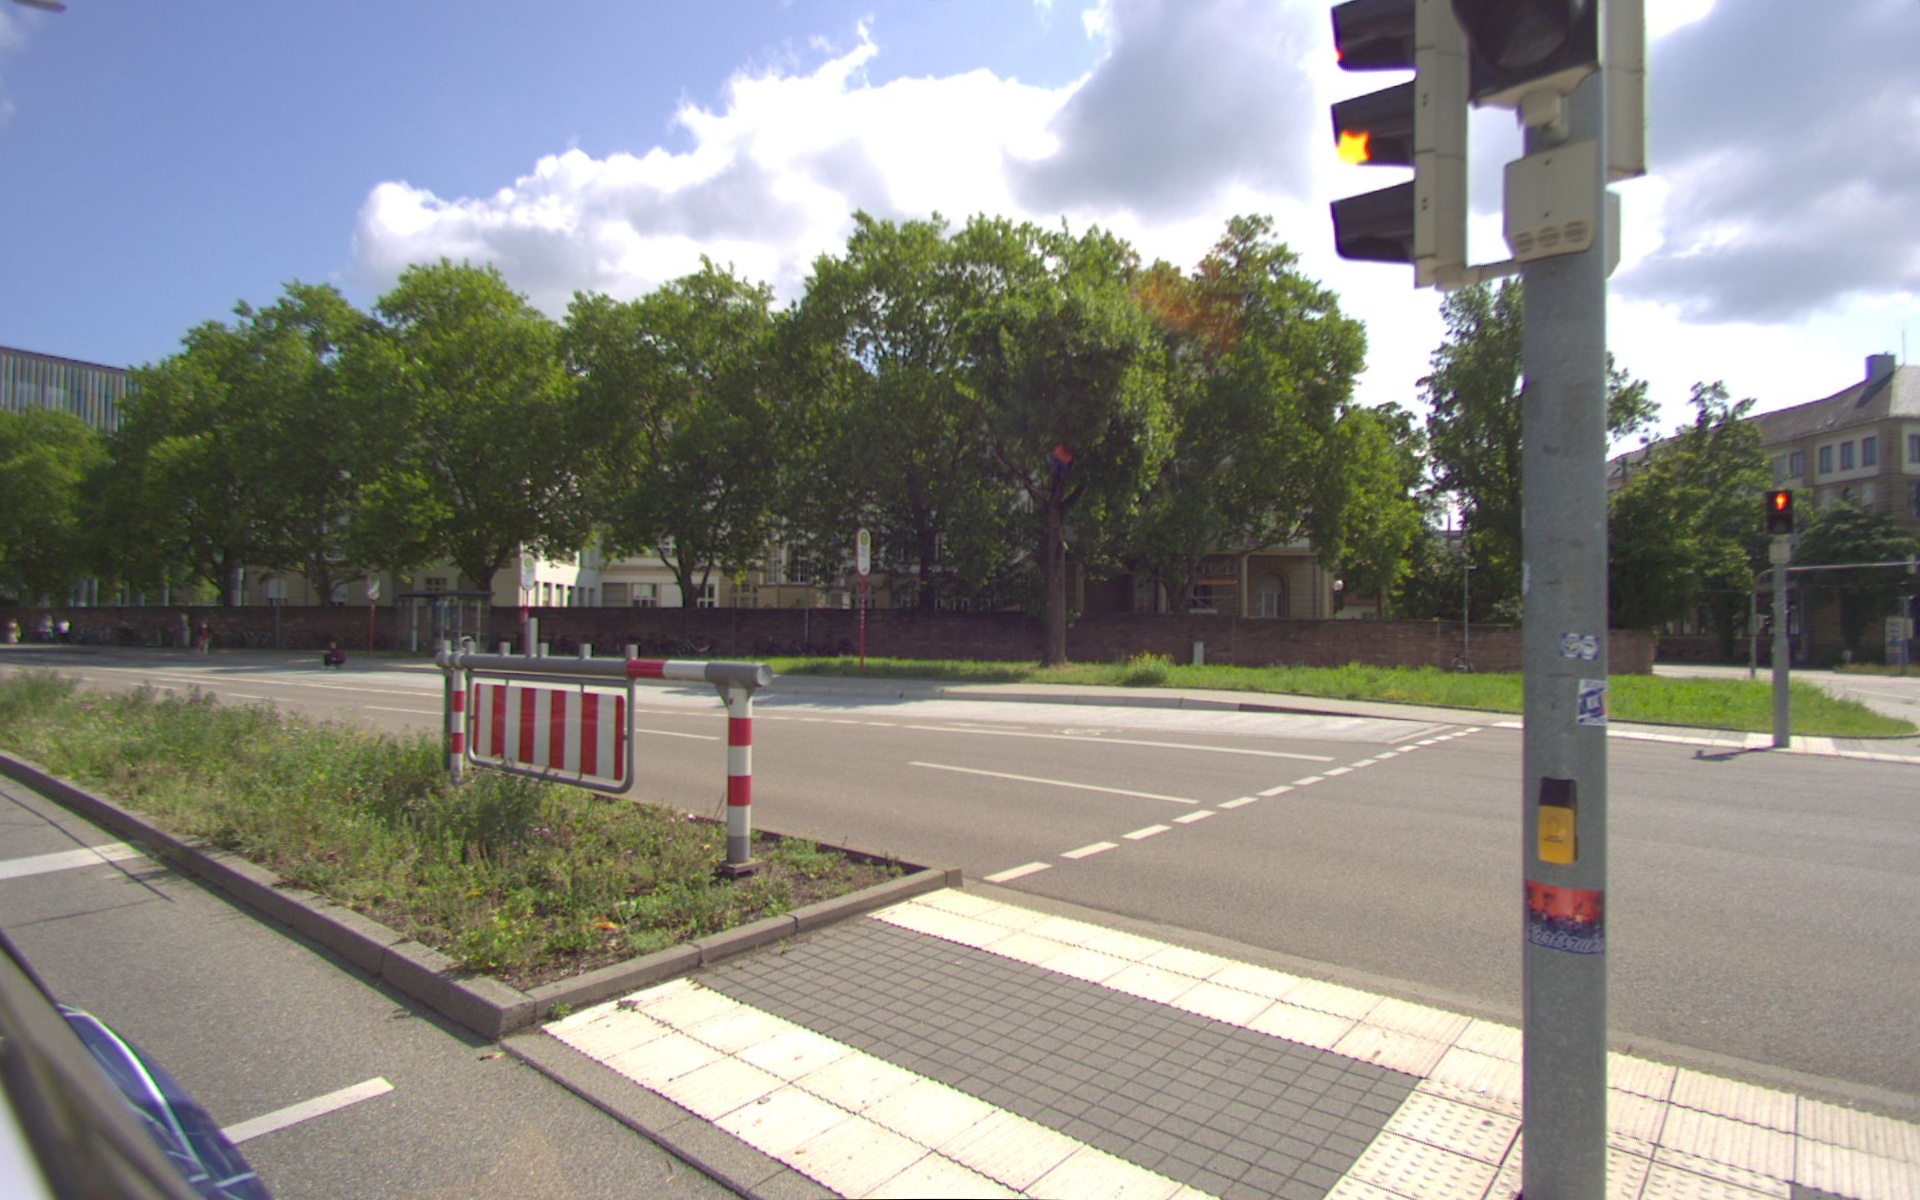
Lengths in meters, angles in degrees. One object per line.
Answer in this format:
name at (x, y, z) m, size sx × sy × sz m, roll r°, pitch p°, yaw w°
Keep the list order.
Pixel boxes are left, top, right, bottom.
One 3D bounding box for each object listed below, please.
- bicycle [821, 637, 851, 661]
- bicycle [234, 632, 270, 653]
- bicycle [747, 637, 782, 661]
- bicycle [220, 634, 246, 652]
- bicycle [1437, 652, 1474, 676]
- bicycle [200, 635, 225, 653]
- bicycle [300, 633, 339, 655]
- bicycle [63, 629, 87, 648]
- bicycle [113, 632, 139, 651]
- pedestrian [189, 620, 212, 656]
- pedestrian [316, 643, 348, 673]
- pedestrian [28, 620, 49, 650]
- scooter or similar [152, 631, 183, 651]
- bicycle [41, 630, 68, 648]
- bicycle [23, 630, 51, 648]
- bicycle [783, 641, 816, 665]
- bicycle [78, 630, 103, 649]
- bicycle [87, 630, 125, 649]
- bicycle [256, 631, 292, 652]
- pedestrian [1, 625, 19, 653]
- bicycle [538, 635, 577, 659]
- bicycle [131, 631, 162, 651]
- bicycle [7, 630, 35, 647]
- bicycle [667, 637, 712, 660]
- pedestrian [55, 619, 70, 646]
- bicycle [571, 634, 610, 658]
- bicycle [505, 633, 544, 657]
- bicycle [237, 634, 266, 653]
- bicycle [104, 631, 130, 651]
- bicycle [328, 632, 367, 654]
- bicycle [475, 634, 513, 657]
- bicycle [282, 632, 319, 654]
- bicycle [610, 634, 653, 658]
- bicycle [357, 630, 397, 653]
bicycle at (-5.409, 2.135, 44.032) m, size 1.243 × 1.019 × 0.352 m, roll 0°, pitch -2°, yaw 15°
bicycle at (-36.196, 2.174, 51.722) m, size 1.742 × 1.081 × 0.580 m, roll 0°, pitch -2°, yaw 20°
bicycle at (-8.612, 2.152, 44.584) m, size 1.442 × 1.019 × 0.470 m, roll 0°, pitch -2°, yaw 15°
bicycle at (-38.228, 2.248, 53.200) m, size 1.391 × 0.962 × 0.365 m, roll 0°, pitch -2°, yaw 20°
bicycle at (21.186, 2.748, 43.283) m, size 1.497 × 0.999 × 0.395 m, roll 1°, pitch -2°, yaw -12°
bicycle at (-39.684, 2.346, 53.714) m, size 1.391 × 0.962 × 0.365 m, roll 0°, pitch -2°, yaw 20°
bicycle at (-31.926, 2.176, 50.453) m, size 1.738 × 1.081 × 0.581 m, roll 0°, pitch -2°, yaw 14°
bicycle at (-52.314, 2.275, 59.805) m, size 1.871 × 1.056 × 0.368 m, roll -1°, pitch -2°, yaw 26°
bicycle at (-47.030, 2.321, 57.057) m, size 1.871 × 1.056 × 0.391 m, roll -1°, pitch -2°, yaw 26°
pedestrian at (-34.860, 1.735, 46.445) m, size 0.743 × 1.622 × 0.650 m, roll -1°, pitch -2°, yaw 36°
pedestrian at (-21.575, 1.984, 34.760) m, size 0.741 × 0.970 × 0.688 m, roll -1°, pitch -2°, yaw 34°
pedestrian at (-53.017, 2.014, 58.218) m, size 0.728 × 1.664 × 0.636 m, roll -1°, pitch -3°, yaw 30°
scooter or similar at (-43.455, 2.241, 55.477) m, size 1.871 × 1.056 × 0.577 m, roll -1°, pitch -2°, yaw 26°
bicycle at (-54.572, 2.344, 60.984) m, size 1.871 × 1.056 × 0.561 m, roll -1°, pitch -2°, yaw 26°
bicycle at (-56.472, 2.369, 61.918) m, size 1.871 × 1.056 × 0.626 m, roll -1°, pitch -2°, yaw 26°
bicycle at (-7.021, 2.310, 44.257) m, size 1.357 × 1.019 × 0.390 m, roll 0°, pitch -2°, yaw 15°
bicycle at (-50.555, 2.297, 58.833) m, size 1.871 × 1.056 × 0.368 m, roll -1°, pitch -2°, yaw 26°
bicycle at (-48.773, 2.272, 57.812) m, size 1.860 × 1.056 × 0.592 m, roll 0°, pitch -2°, yaw 11°
bicycle at (-34.944, 2.105, 51.565) m, size 1.742 × 1.081 × 0.580 m, roll 0°, pitch -2°, yaw 20°
pedestrian at (-56.738, 2.335, 60.442) m, size 0.724 × 1.664 × 0.556 m, roll -1°, pitch -3°, yaw 30°
bicycle at (-18.493, 2.164, 46.467) m, size 1.615 × 1.081 × 0.581 m, roll 0°, pitch -2°, yaw 14°
bicycle at (-45.244, 2.271, 56.274) m, size 1.871 × 1.056 × 0.577 m, roll -1°, pitch -2°, yaw 26°
bicycle at (-58.345, 2.385, 62.898) m, size 1.871 × 1.056 × 0.626 m, roll -1°, pitch -2°, yaw 26°
bicycle at (-12.083, 2.153, 45.173) m, size 1.945 × 1.019 × 0.470 m, roll 0°, pitch -2°, yaw 15°
pedestrian at (-52.741, 1.913, 59.476) m, size 0.614 × 1.551 × 0.473 m, roll -1°, pitch -3°, yaw 30°
bicycle at (-16.827, 2.095, 46.079) m, size 1.615 × 1.081 × 0.581 m, roll 0°, pitch -2°, yaw 14°
bicycle at (-20.193, 2.098, 46.910) m, size 1.615 × 1.081 × 0.581 m, roll 0°, pitch -2°, yaw 14°
bicycle at (-36.750, 2.231, 52.489) m, size 1.614 × 0.962 × 0.369 m, roll 0°, pitch -2°, yaw 20°
bicycle at (-47.203, 2.291, 56.656) m, size 1.871 × 1.056 × 0.370 m, roll -1°, pitch -2°, yaw 26°
bicycle at (-30.225, 2.104, 49.945) m, size 1.738 × 1.081 × 0.581 m, roll 0°, pitch -2°, yaw 14°
bicycle at (-21.827, 2.135, 47.421) m, size 1.615 × 1.081 × 0.581 m, roll 0°, pitch -2°, yaw 14°
bicycle at (-33.288, 2.158, 51.056) m, size 1.741 × 1.081 × 0.580 m, roll 0°, pitch -2°, yaw 19°
bicycle at (-14.818, 2.070, 45.709) m, size 1.855 × 1.081 × 0.580 m, roll 0°, pitch -2°, yaw 18°
bicycle at (-28.443, 2.027, 49.365) m, size 1.738 × 1.081 × 0.581 m, roll 0°, pitch -2°, yaw 14°
